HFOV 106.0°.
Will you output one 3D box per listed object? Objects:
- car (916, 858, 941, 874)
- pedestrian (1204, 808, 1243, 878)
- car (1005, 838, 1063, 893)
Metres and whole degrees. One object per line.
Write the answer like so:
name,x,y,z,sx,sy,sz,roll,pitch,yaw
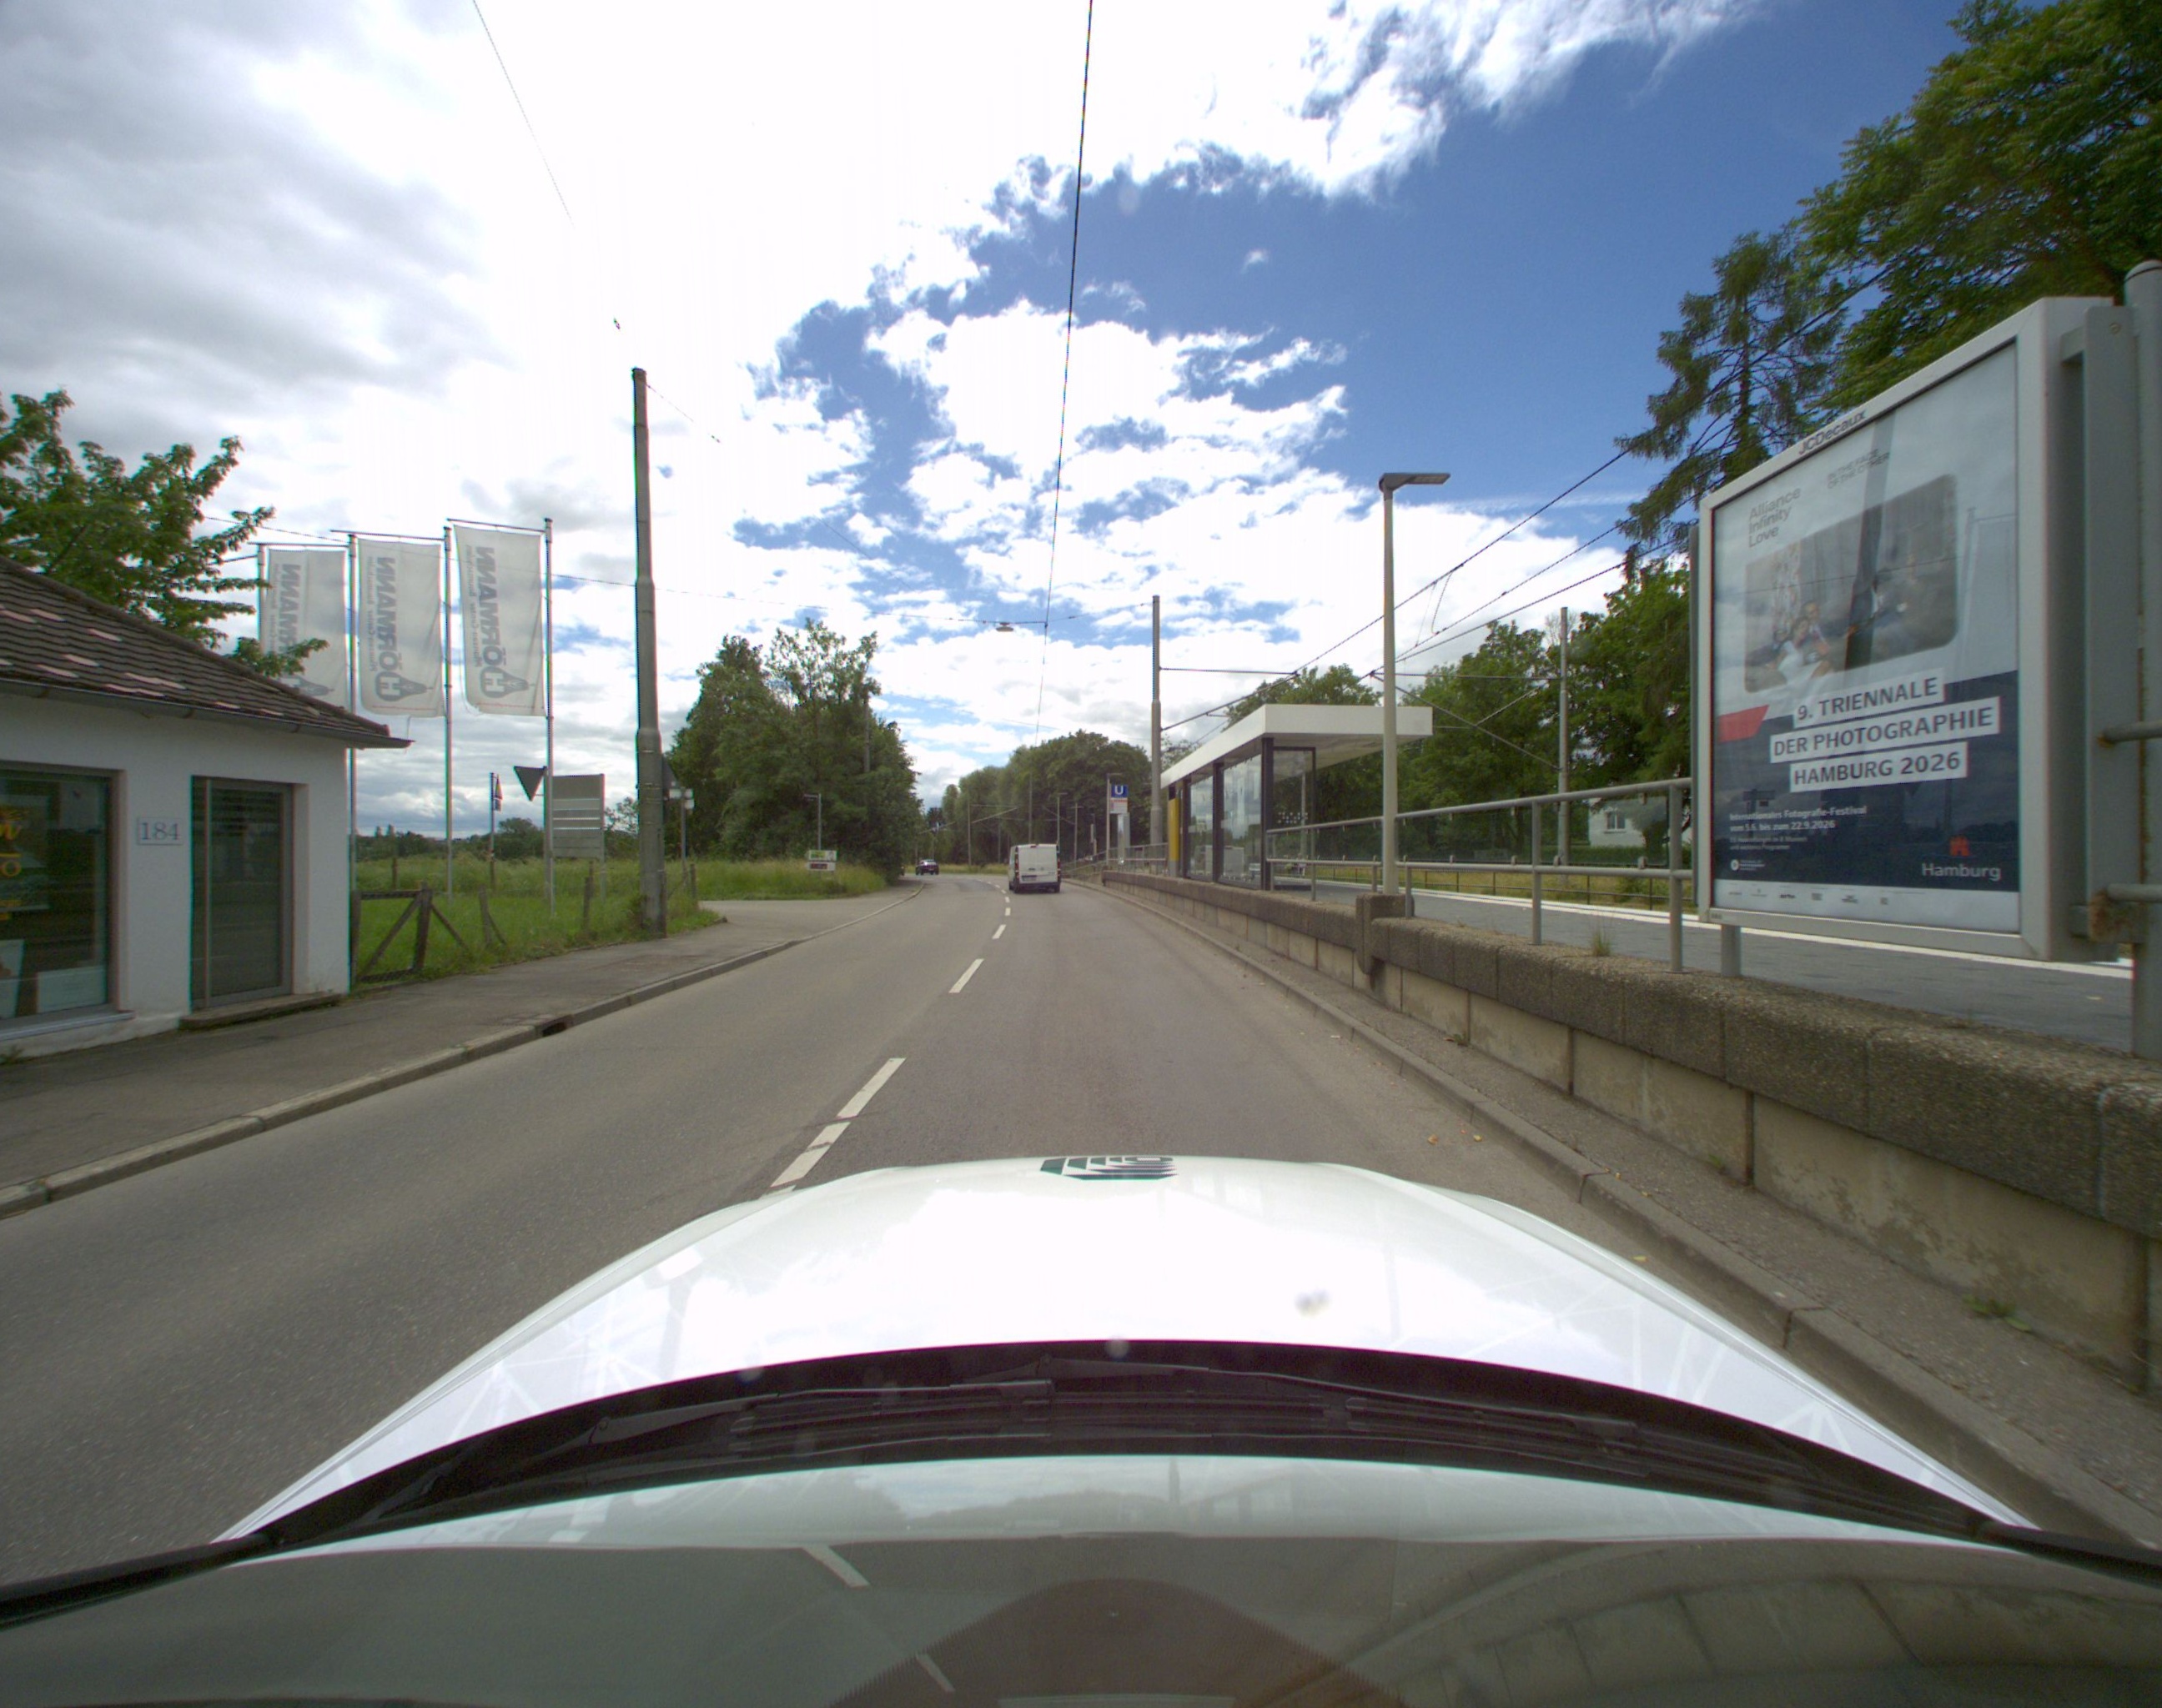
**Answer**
car,-16.638,1.288,88.846,2.359,1.564,4.351,1,0,-14
pedestrian,2.921,-0.230,16.736,0.637,1.404,0.764,-1,1,-3
car,-2.069,0.469,34.165,2.115,2.134,5.428,1,0,-7
